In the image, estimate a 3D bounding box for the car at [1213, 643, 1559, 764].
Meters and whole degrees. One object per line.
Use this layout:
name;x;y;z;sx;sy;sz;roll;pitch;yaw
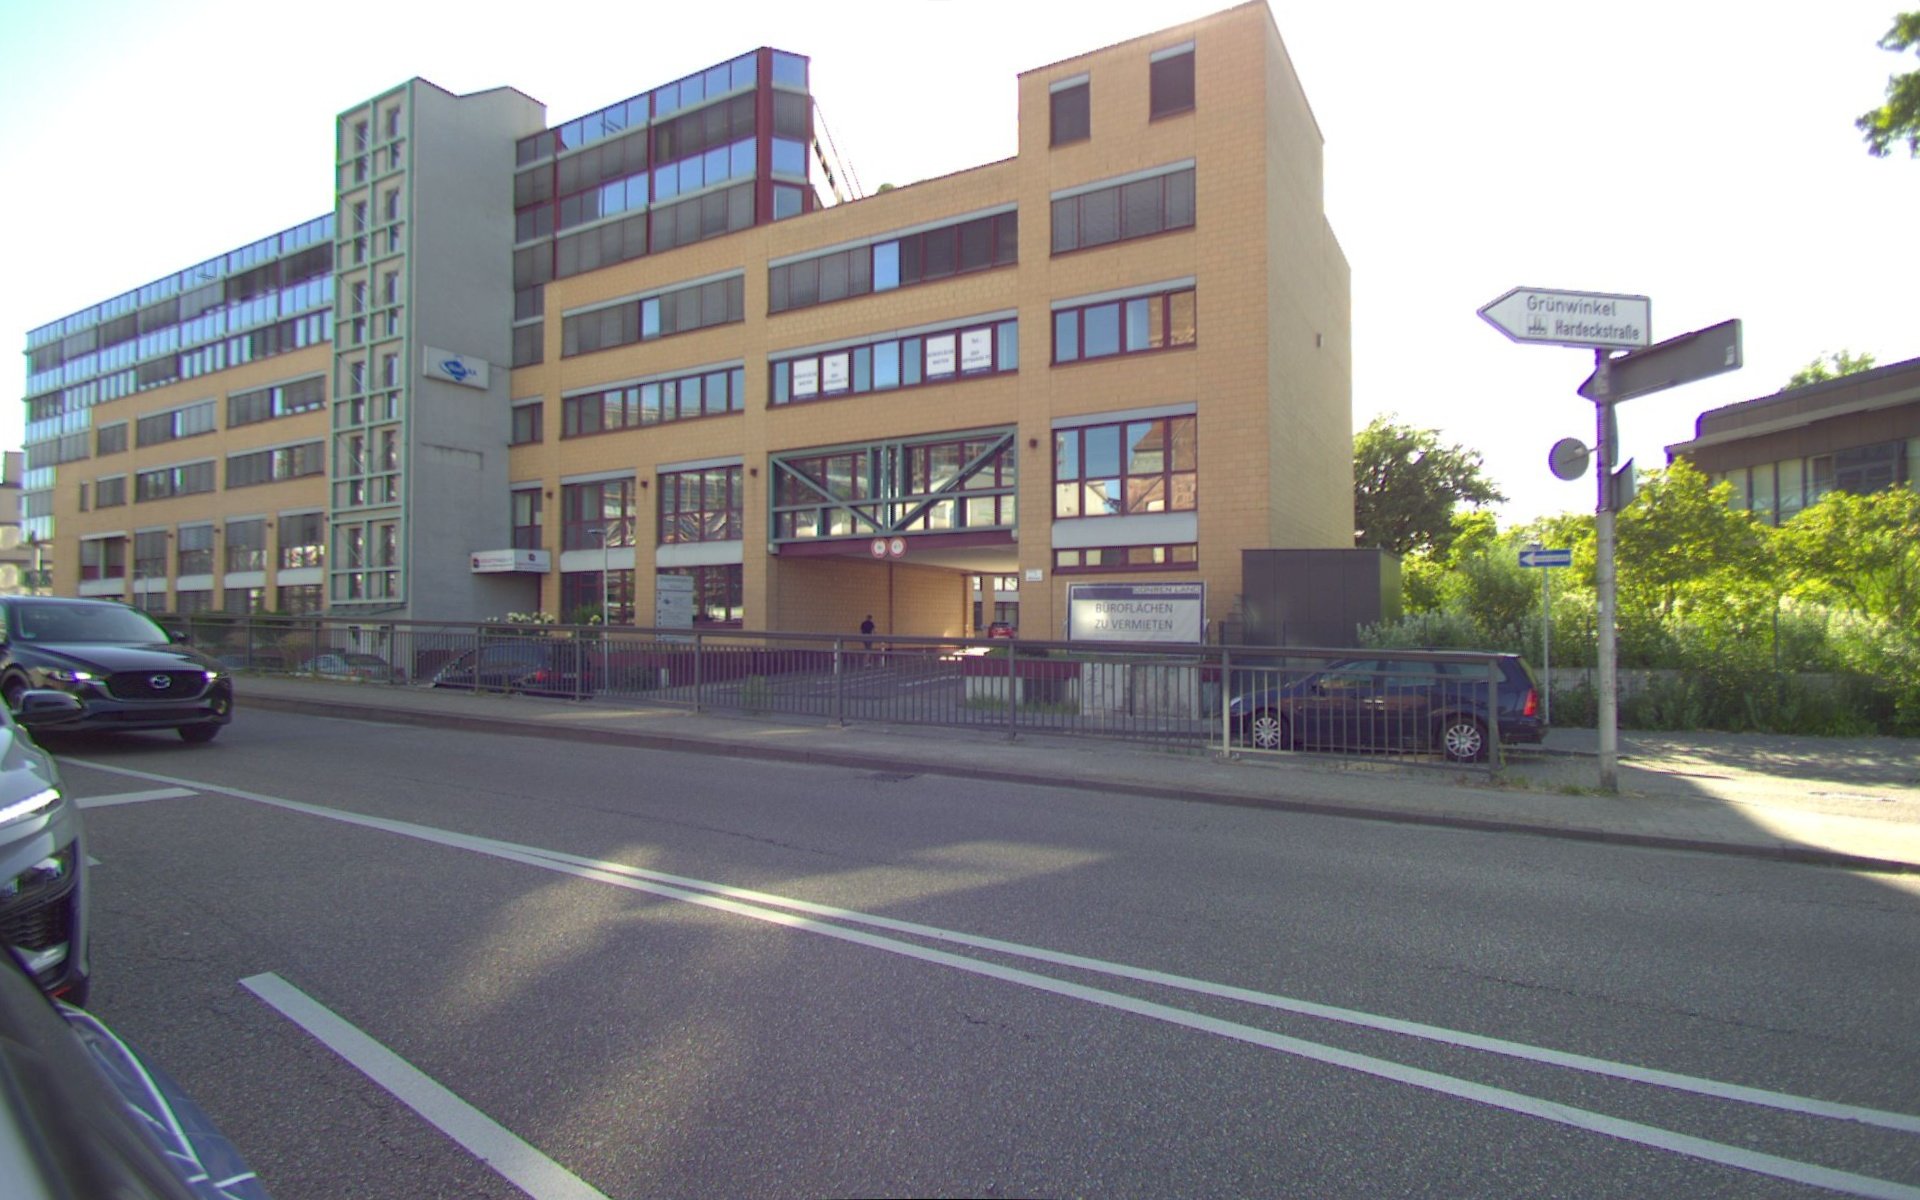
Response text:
car;6.075;1.460;14.681;4.367;1.520;1.640;-3;-5;34

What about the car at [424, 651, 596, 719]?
car;-11.023;2.028;24.764;4.139;1.535;1.624;-2;-3;27

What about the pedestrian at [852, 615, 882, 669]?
pedestrian;-3.283;1.485;35.664;0.703;1.865;0.738;-2;-1;35

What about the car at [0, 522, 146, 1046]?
car;-4.932;0.613;4.150;4.196;1.634;1.854;-2;-3;42

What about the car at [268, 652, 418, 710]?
car;-17.592;2.260;28.826;4.143;1.535;1.862;-2;-3;29

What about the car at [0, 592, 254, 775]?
car;-10.078;0.804;11.421;4.180;1.722;1.861;0;-2;30

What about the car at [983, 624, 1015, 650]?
car;2.586;2.449;67.278;1.742;1.532;4.003;-1;0;-3

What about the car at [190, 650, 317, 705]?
car;-22.250;2.395;31.844;3.986;1.576;1.865;-2;-3;32
